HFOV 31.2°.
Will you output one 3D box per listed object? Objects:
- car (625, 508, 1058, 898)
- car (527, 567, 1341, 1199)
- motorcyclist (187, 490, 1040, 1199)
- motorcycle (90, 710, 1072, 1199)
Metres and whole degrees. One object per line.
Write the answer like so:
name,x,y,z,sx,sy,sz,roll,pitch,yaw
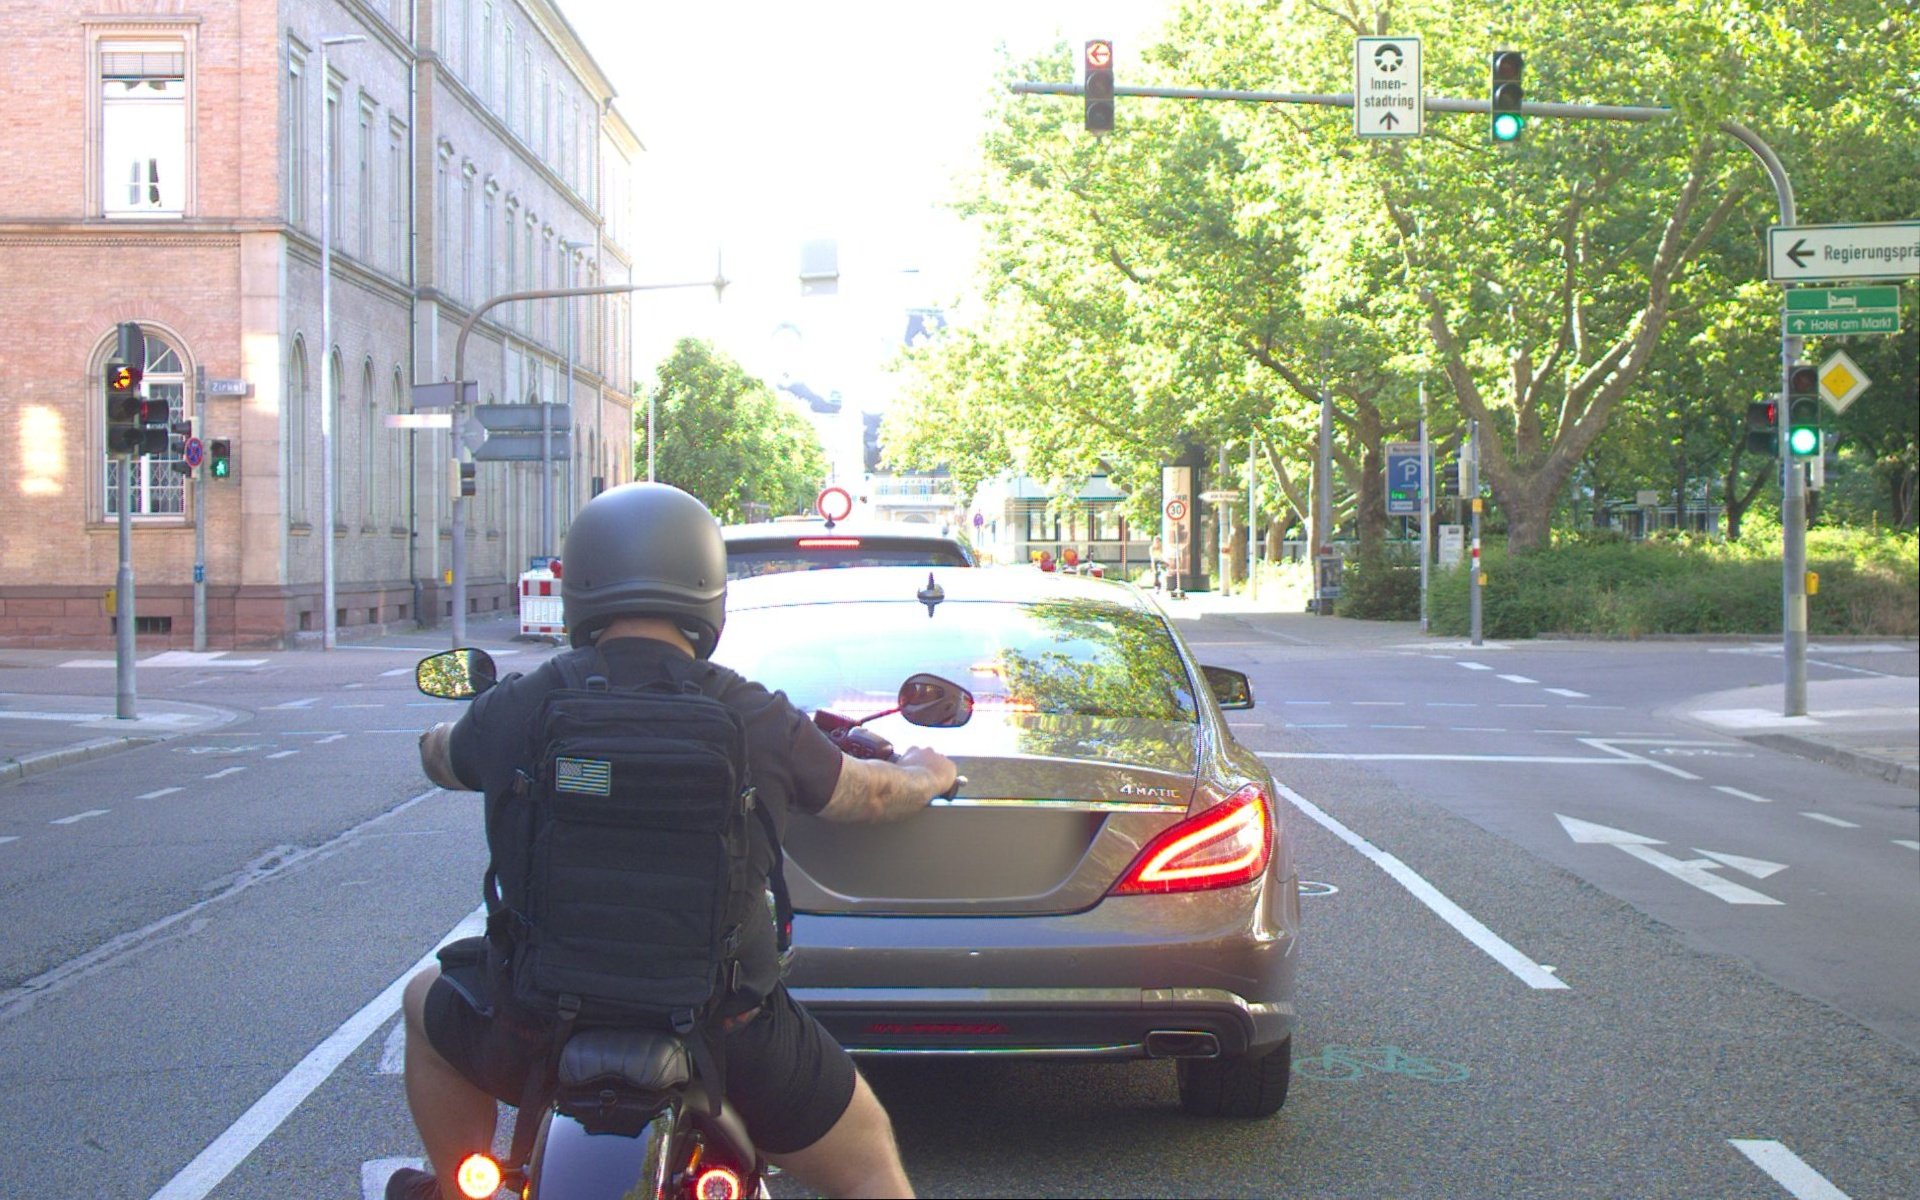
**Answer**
car,-0.539,0.428,16.953,1.863,1.672,4.000,1,1,-1
car,-0.080,0.635,9.675,1.822,1.432,3.806,1,1,-1
motorcyclist,-0.478,0.629,5.287,1.099,1.560,1.071,1,0,6
motorcycle,-0.464,0.833,5.511,1.118,1.203,2.212,1,1,6
